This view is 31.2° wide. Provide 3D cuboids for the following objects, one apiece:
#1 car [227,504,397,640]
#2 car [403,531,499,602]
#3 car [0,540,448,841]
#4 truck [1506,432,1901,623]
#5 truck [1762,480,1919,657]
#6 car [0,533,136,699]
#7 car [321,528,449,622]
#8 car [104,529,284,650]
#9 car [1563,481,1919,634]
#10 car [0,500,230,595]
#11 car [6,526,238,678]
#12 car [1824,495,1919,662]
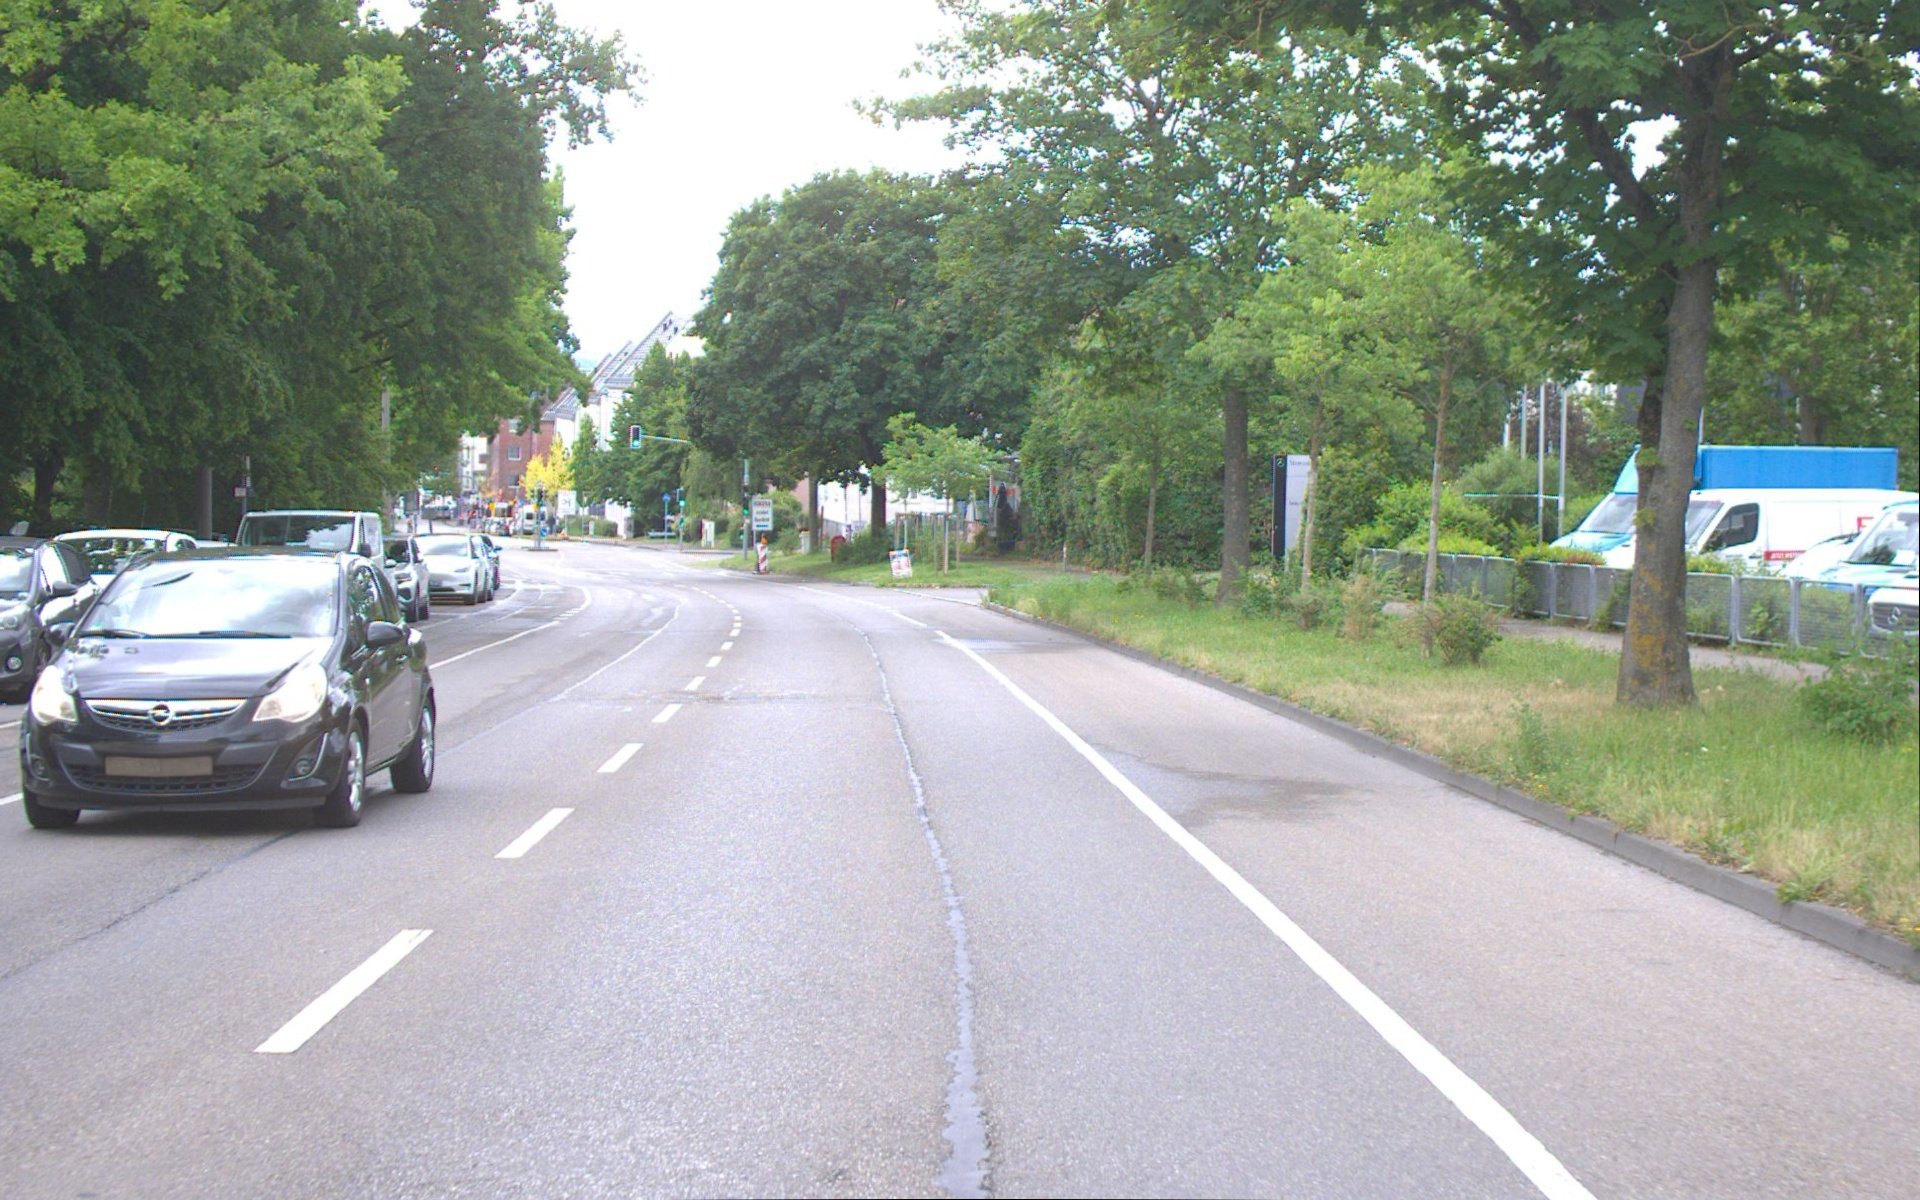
[{"bbox_3d":[-9.797,-0.457,52.315,1.866,1.957,5.127,0,1,-3],"label":"car"},{"bbox_3d":[-11.673,-0.775,79.087,1.767,1.567,4.760,0,1,-4],"label":"car"},{"bbox_3d":[-3.924,0.412,18.834,1.637,1.462,4.000,-1,1,0],"label":"car"},{"bbox_3d":[14.036,-1.361,64.807,7.162,3.465,2.619,0,1,-26],"label":"truck"},{"bbox_3d":[13.765,-0.384,45.448,6.232,2.205,2.247,1,1,-29],"label":"truck"},{"bbox_3d":[-9.163,0.123,32.703,1.673,1.483,4.045,-1,1,0],"label":"car"},{"bbox_3d":[-10.343,-0.472,62.063,1.766,1.628,4.158,0,1,-3],"label":"car"},{"bbox_3d":[-9.781,-0.159,44.135,1.662,1.474,4.091,0,1,-4],"label":"car"},{"bbox_3d":[13.190,-0.685,56.853,6.009,2.359,2.363,1,1,-25],"label":"car"},{"bbox_3d":[-16.347,-1.013,65.746,4.431,1.445,1.869,5,0,-7],"label":"car"},{"bbox_3d":[-9.067,-0.012,37.495,1.673,1.559,4.282,0,1,-3],"label":"car"},{"bbox_3d":[13.564,-0.220,41.827,5.806,1.950,2.072,1,1,-23],"label":"car"}]
